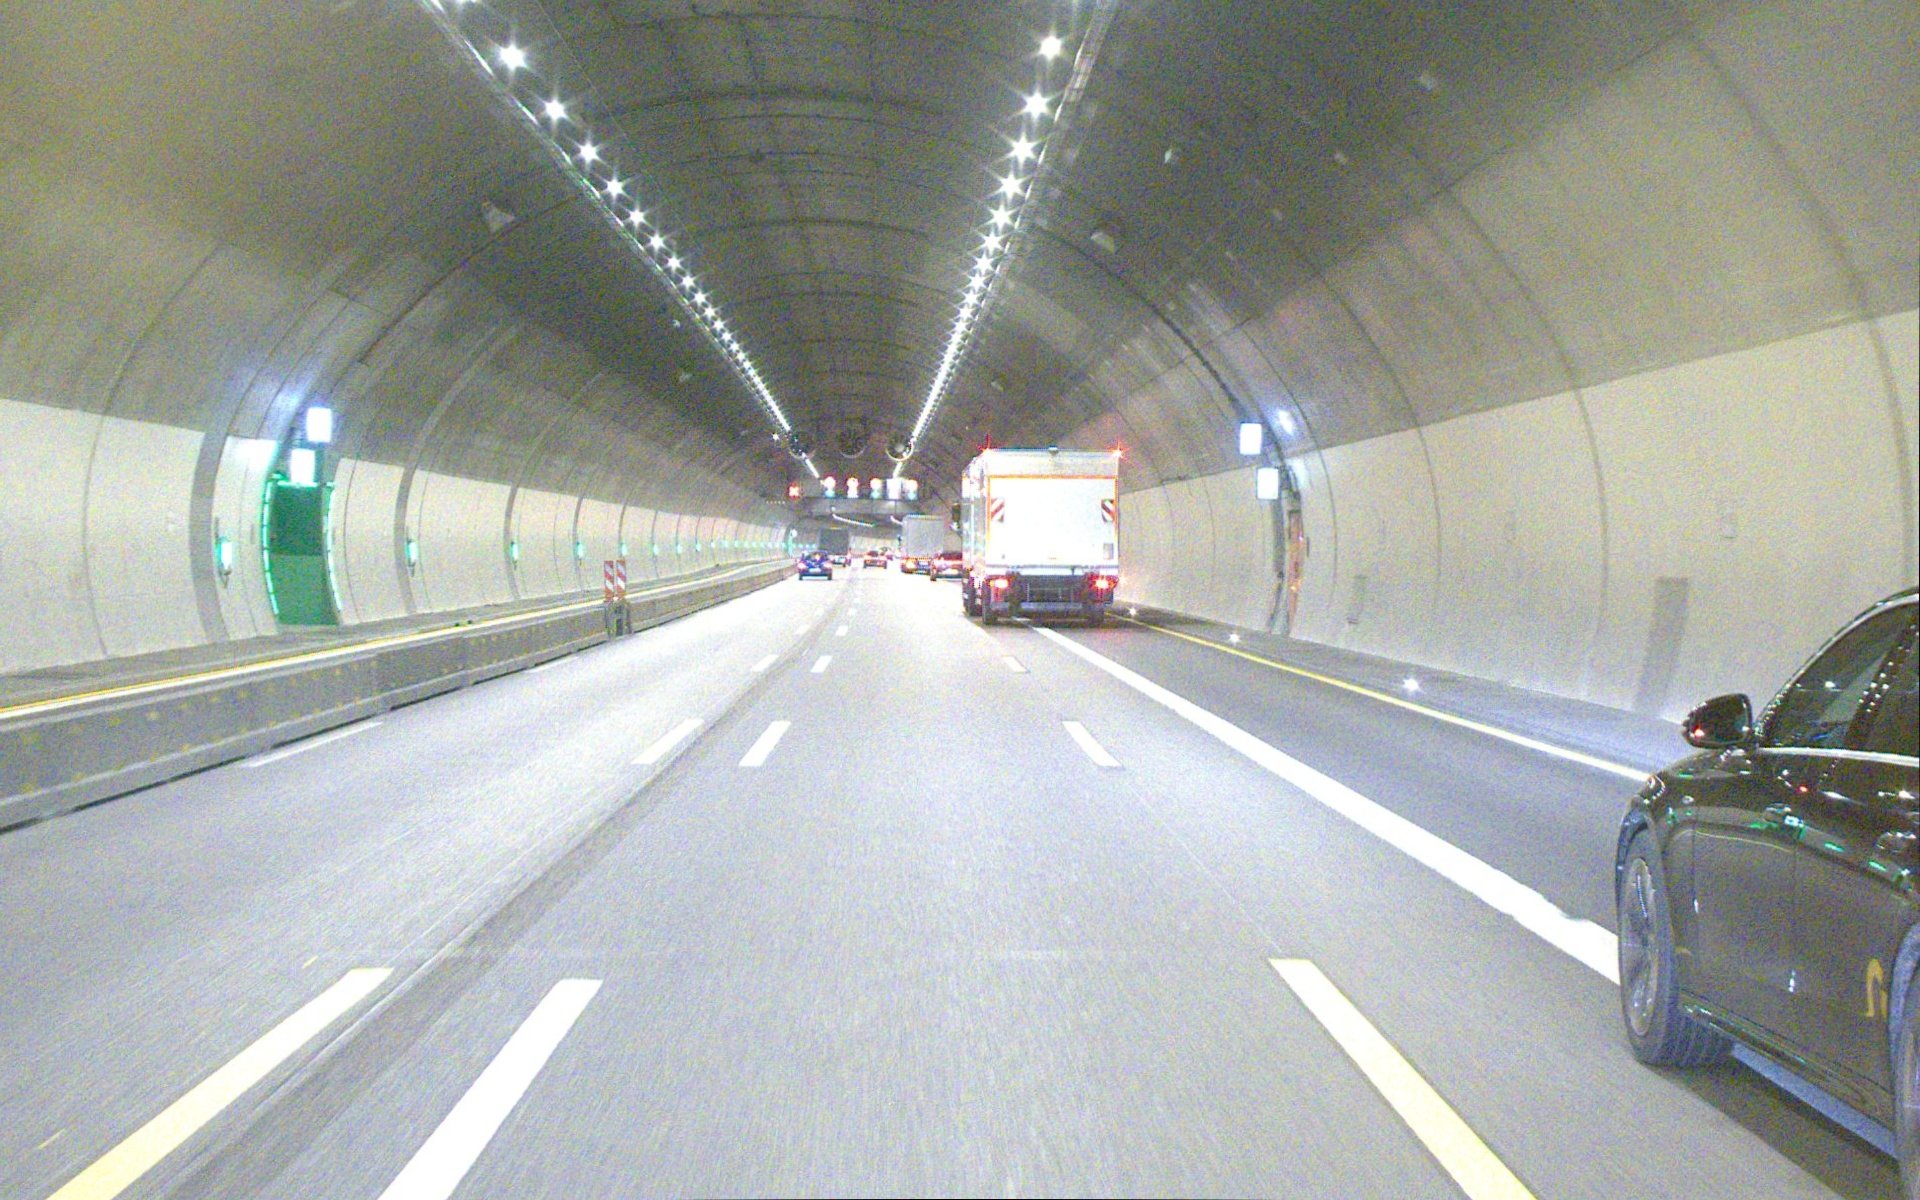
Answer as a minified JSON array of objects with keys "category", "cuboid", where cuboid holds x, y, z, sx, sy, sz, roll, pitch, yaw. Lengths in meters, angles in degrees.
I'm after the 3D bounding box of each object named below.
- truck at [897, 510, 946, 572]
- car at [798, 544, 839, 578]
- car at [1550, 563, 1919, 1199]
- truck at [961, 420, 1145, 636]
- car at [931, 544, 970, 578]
[{"category":"truck","cuboid":[-2.601,-4.032,237.726,3.066,3.904,10.368,3,0,0]},{"category":"car","cuboid":[-6.608,-1.813,160.500,1.758,1.456,4.119,2,1,-1]},{"category":"car","cuboid":[2.837,0.690,8.294,1.925,1.467,4.954,2,0,0]},{"category":"truck","cuboid":[1.750,-1.351,69.908,3.092,3.904,10.368,3,0,-1]},{"category":"car","cuboid":[-0.423,-1.787,158.054,1.739,1.456,3.960,2,1,0]}]
